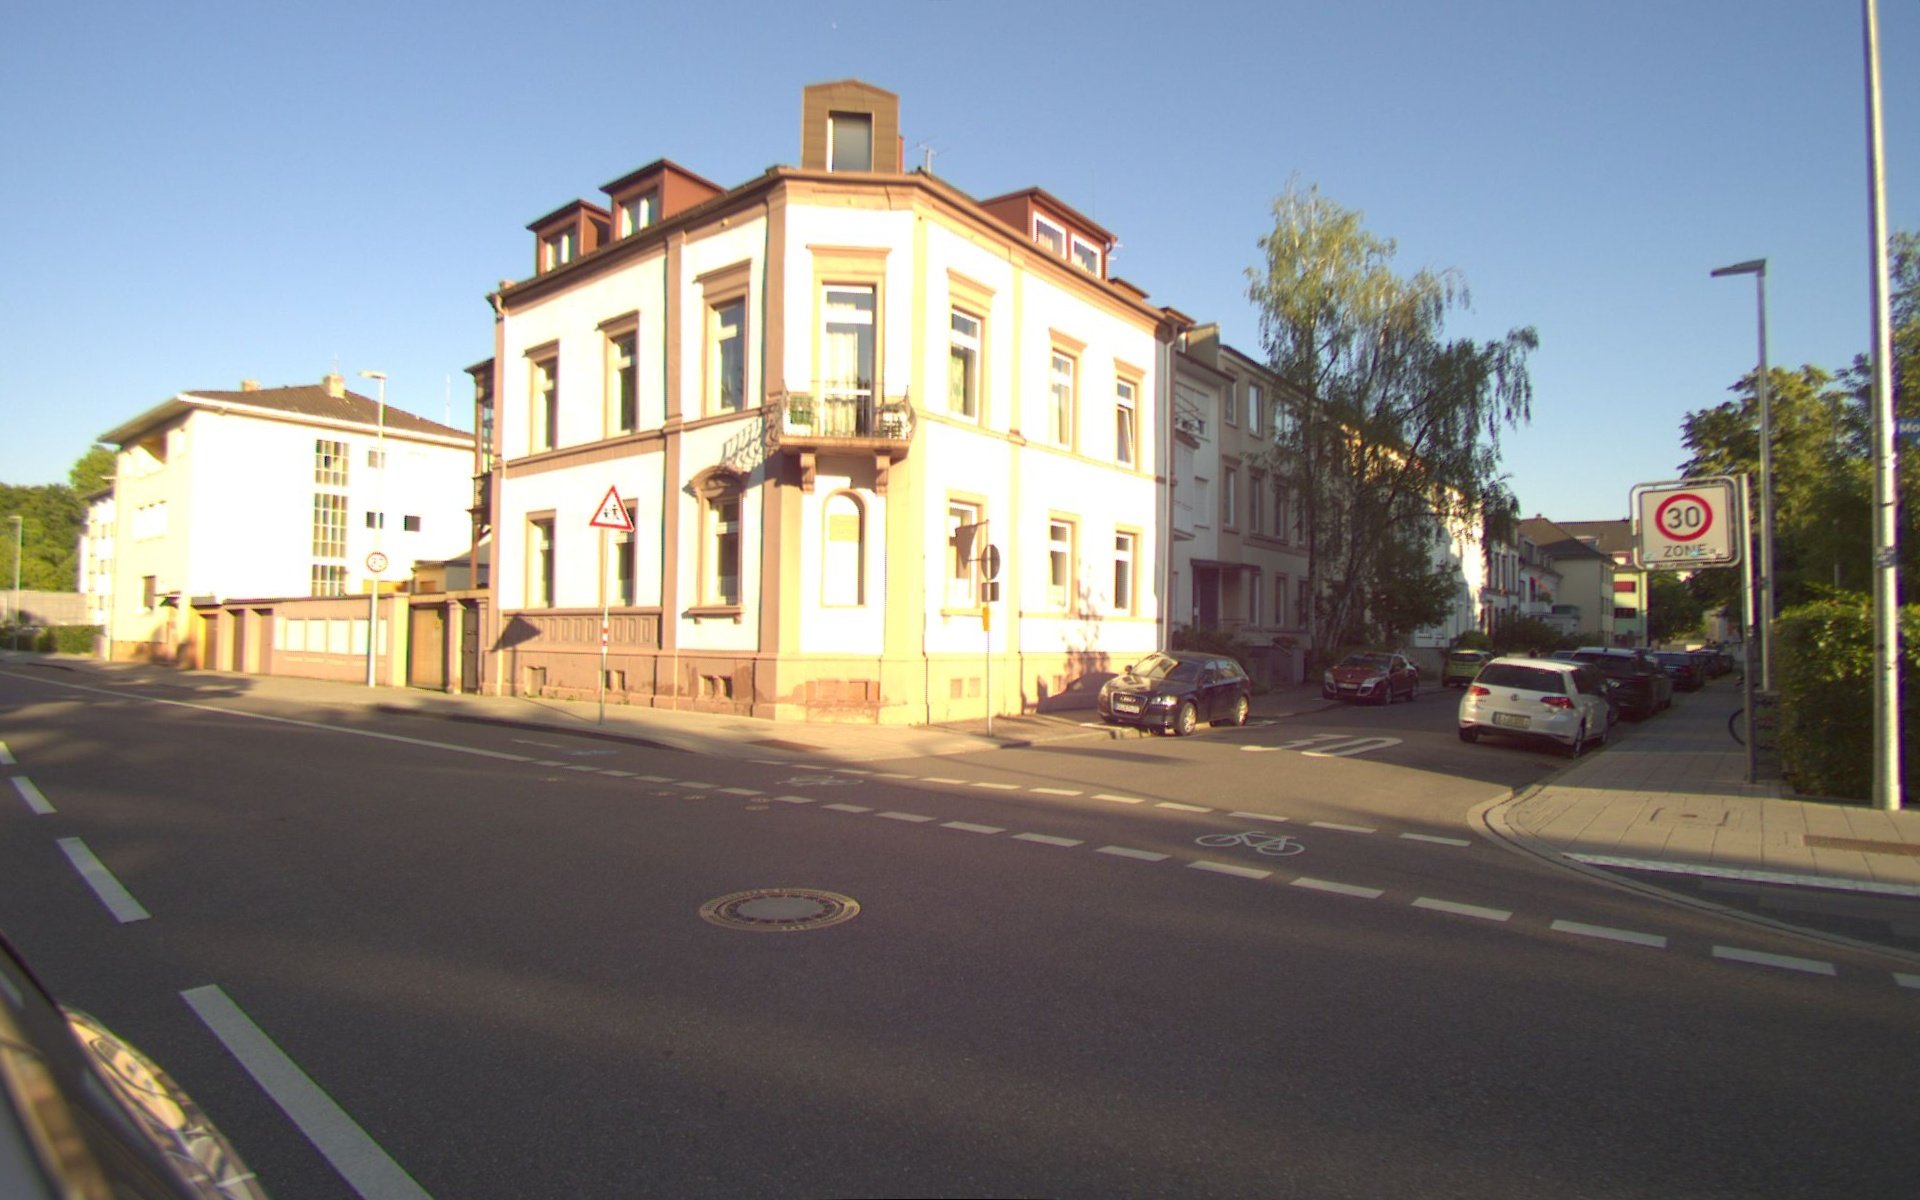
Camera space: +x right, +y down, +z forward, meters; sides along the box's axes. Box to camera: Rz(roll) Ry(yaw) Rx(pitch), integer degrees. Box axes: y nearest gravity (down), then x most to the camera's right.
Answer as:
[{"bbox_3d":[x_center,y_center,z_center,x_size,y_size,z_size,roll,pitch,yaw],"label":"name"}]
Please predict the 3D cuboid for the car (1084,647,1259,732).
[{"bbox_3d":[4.232,1.663,19.827,1.901,1.449,3.869,-1,-3,37],"label":"car"}]

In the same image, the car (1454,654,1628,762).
[{"bbox_3d":[9.962,1.726,17.218,1.818,1.449,3.866,5,1,40],"label":"car"}]

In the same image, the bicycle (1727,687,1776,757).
[{"bbox_3d":[11.488,1.740,14.708,0.511,0.899,1.582,-1,-3,37],"label":"bicycle"}]

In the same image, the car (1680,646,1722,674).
[{"bbox_3d":[46.759,3.773,63.830,1.895,1.652,3.692,-2,-3,40],"label":"car"}]

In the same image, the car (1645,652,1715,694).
[{"bbox_3d":[28.414,2.823,39.906,1.895,1.548,3.692,-2,-3,40],"label":"car"}]

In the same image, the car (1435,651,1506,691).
[{"bbox_3d":[20.016,2.743,39.578,1.900,1.449,3.871,-1,-3,36],"label":"car"}]

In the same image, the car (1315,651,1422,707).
[{"bbox_3d":[11.743,2.198,28.974,1.901,1.449,3.869,-1,-3,37],"label":"car"}]

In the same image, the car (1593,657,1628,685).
[{"bbox_3d":[49.726,5.399,77.298,1.996,2.029,3.951,-1,-3,36],"label":"car"}]

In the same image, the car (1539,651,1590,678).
[{"bbox_3d":[34.328,3.624,57.434,1.903,1.449,3.866,-2,-3,40],"label":"car"}]

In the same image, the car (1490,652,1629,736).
[{"bbox_3d":[12.374,1.848,20.796,1.753,1.387,3.866,5,1,40],"label":"car"}]

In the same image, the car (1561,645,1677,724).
[{"bbox_3d":[15.780,1.954,24.162,1.753,1.568,3.866,5,1,40],"label":"car"}]

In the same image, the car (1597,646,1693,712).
[{"bbox_3d":[19.318,2.166,28.484,1.753,1.568,3.866,5,1,40],"label":"car"}]
